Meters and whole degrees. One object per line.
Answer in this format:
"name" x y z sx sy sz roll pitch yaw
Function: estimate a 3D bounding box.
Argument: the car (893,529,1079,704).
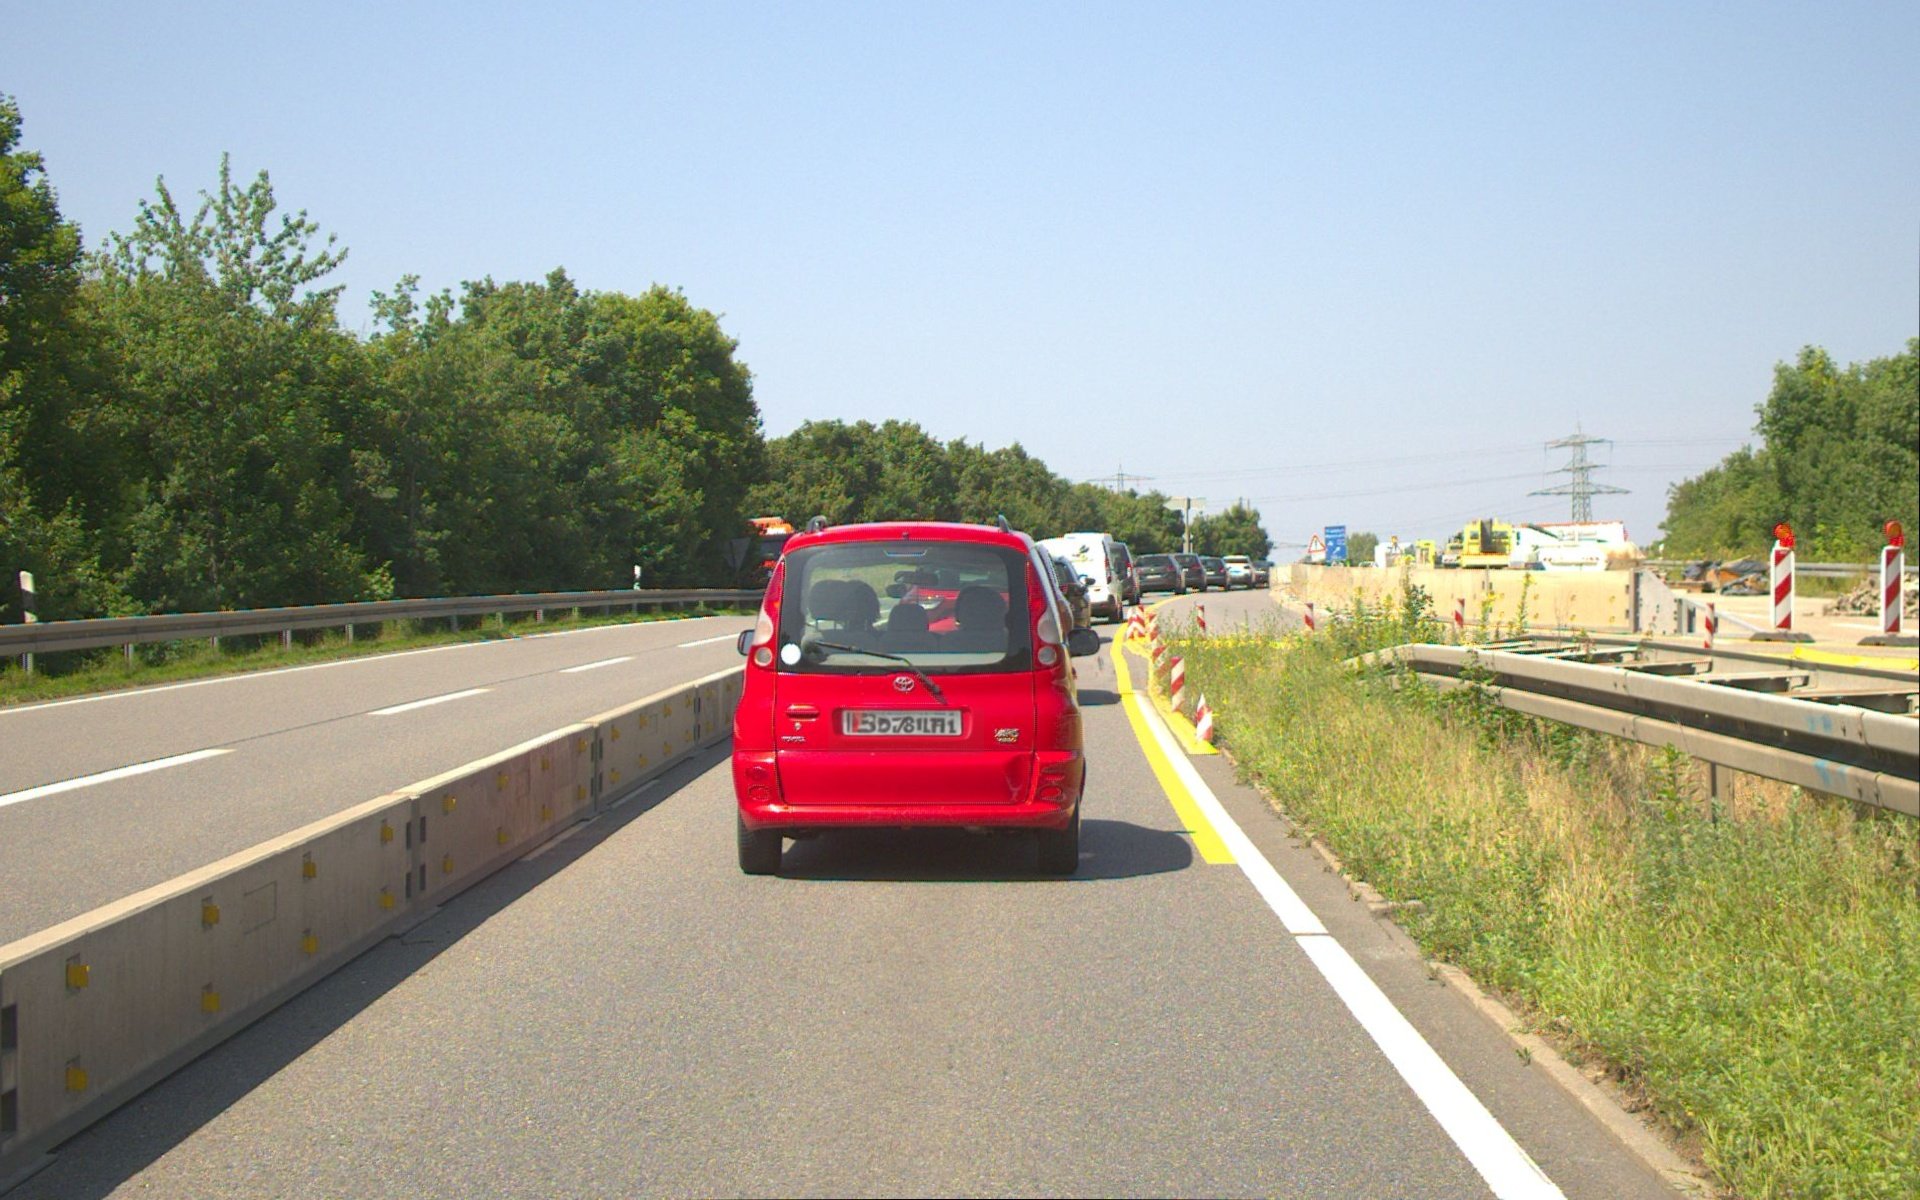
"car" 0.284 0.135 35.944 1.830 1.716 4.000 0 1 1

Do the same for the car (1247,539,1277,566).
"car" 16.477 -2.600 187.756 1.502 1.446 3.170 0 1 3

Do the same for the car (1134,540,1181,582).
"car" 7.019 -1.384 122.321 1.502 1.446 3.325 -1 1 1

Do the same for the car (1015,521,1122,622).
"car" 2.280 -0.598 71.385 1.994 1.997 3.999 1 1 5

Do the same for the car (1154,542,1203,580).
"car" 9.173 -1.645 144.088 1.994 1.579 3.999 0 1 4

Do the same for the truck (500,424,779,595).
"truck" -10.425 -2.933 112.563 8.621 5.357 3.389 -1 1 2

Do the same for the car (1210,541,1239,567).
"car" 13.460 -2.344 175.216 1.421 1.294 2.879 0 1 3

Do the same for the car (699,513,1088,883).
"car" -0.305 0.419 17.532 1.751 1.667 4.000 0 1 0

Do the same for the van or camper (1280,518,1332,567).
"van or camper" 19.378 -3.186 192.641 2.328 2.697 4.594 -1 0 -2

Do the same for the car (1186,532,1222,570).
"car" 11.227 -2.248 158.354 1.502 1.730 3.170 0 1 1

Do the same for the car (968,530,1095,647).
"car" 1.190 -0.211 56.247 1.993 1.831 4.000 0 1 2

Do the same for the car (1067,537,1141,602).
"car" 4.022 -0.871 96.633 1.993 1.744 4.000 1 1 1
